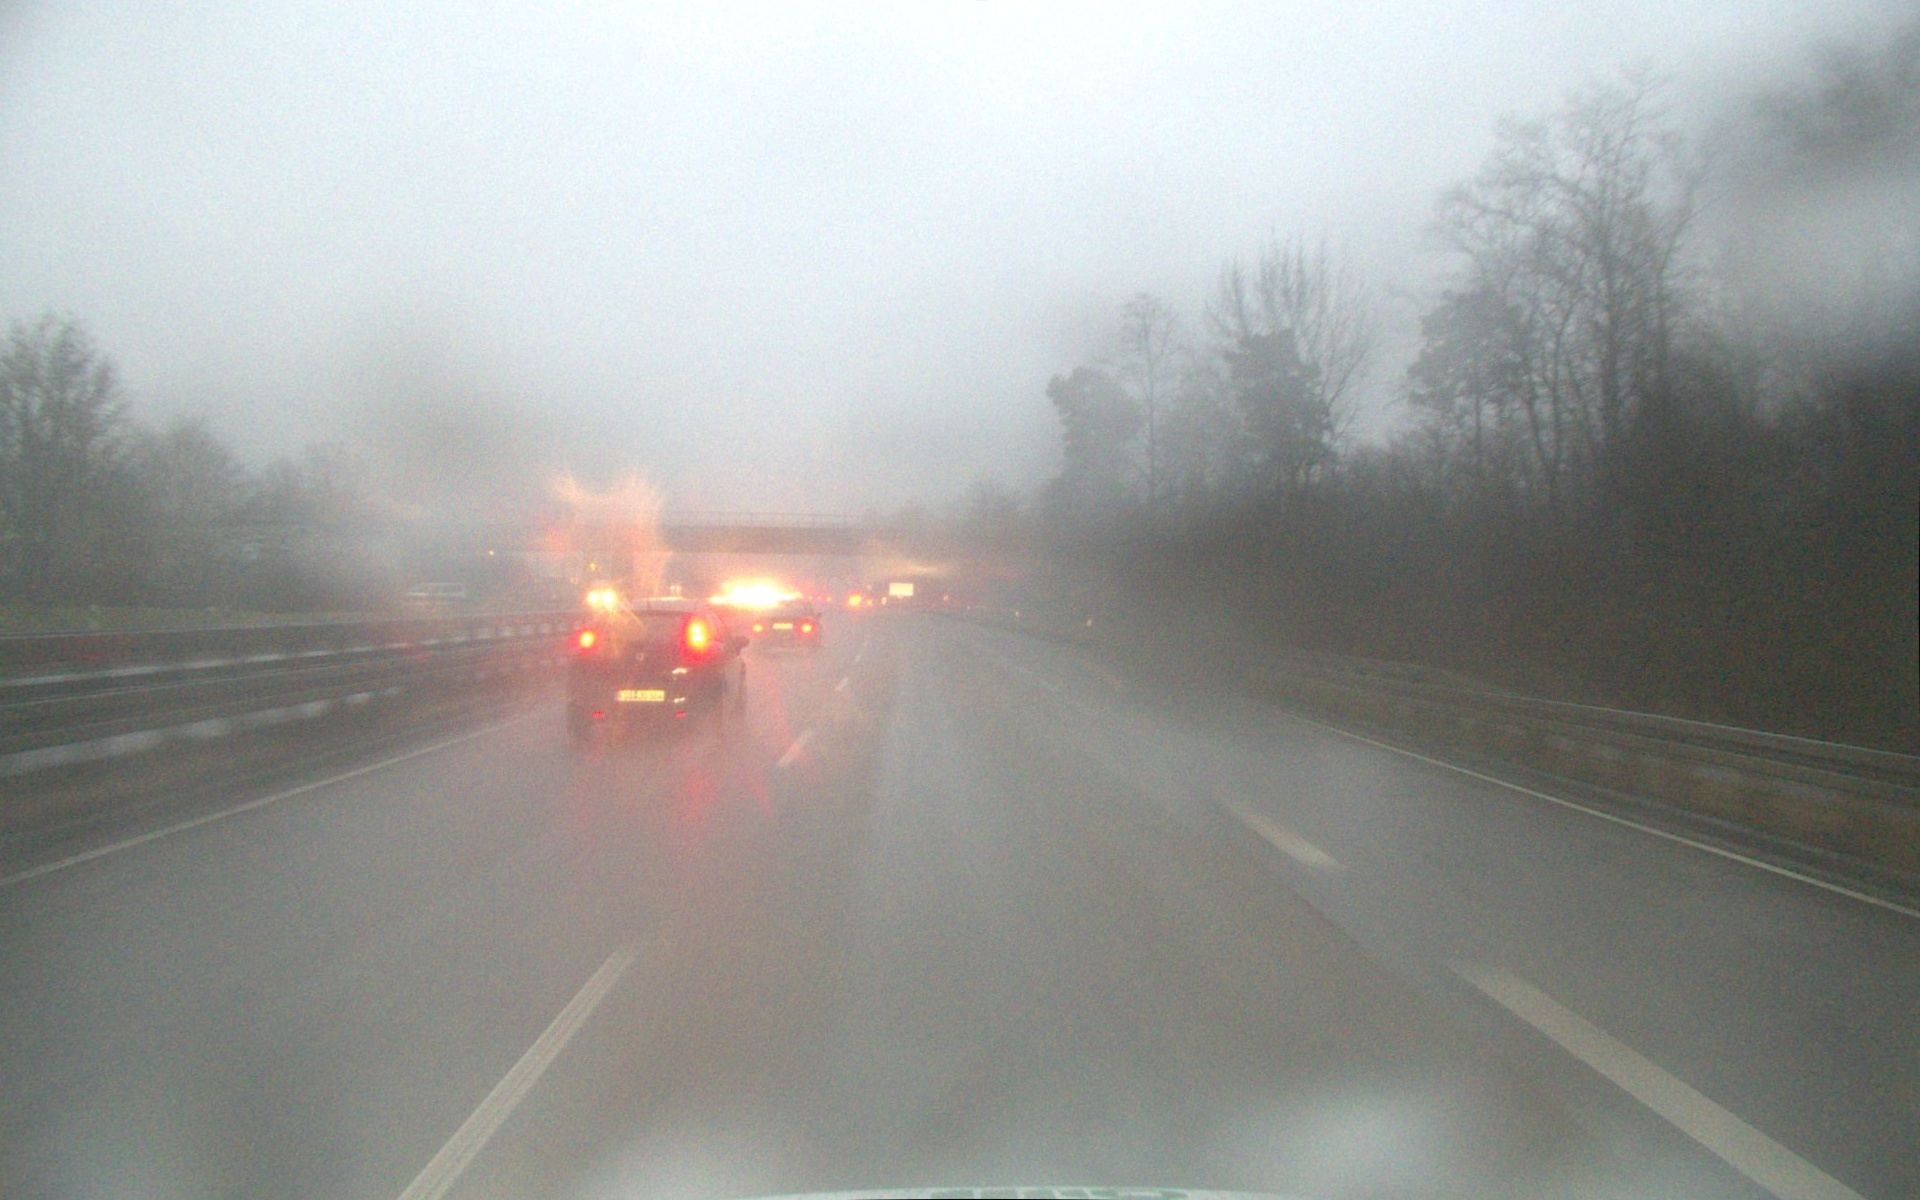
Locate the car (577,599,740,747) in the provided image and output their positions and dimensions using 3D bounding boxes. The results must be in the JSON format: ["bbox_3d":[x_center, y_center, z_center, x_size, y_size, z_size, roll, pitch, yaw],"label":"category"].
[{"bbox_3d":[-3.404,0.767,19.166,1.498,1.440,3.475,3,0,-6],"label":"car"}]

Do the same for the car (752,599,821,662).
[{"bbox_3d":[-4.602,0.773,44.282,1.741,1.561,4.697,-1,0,-5],"label":"car"}]
